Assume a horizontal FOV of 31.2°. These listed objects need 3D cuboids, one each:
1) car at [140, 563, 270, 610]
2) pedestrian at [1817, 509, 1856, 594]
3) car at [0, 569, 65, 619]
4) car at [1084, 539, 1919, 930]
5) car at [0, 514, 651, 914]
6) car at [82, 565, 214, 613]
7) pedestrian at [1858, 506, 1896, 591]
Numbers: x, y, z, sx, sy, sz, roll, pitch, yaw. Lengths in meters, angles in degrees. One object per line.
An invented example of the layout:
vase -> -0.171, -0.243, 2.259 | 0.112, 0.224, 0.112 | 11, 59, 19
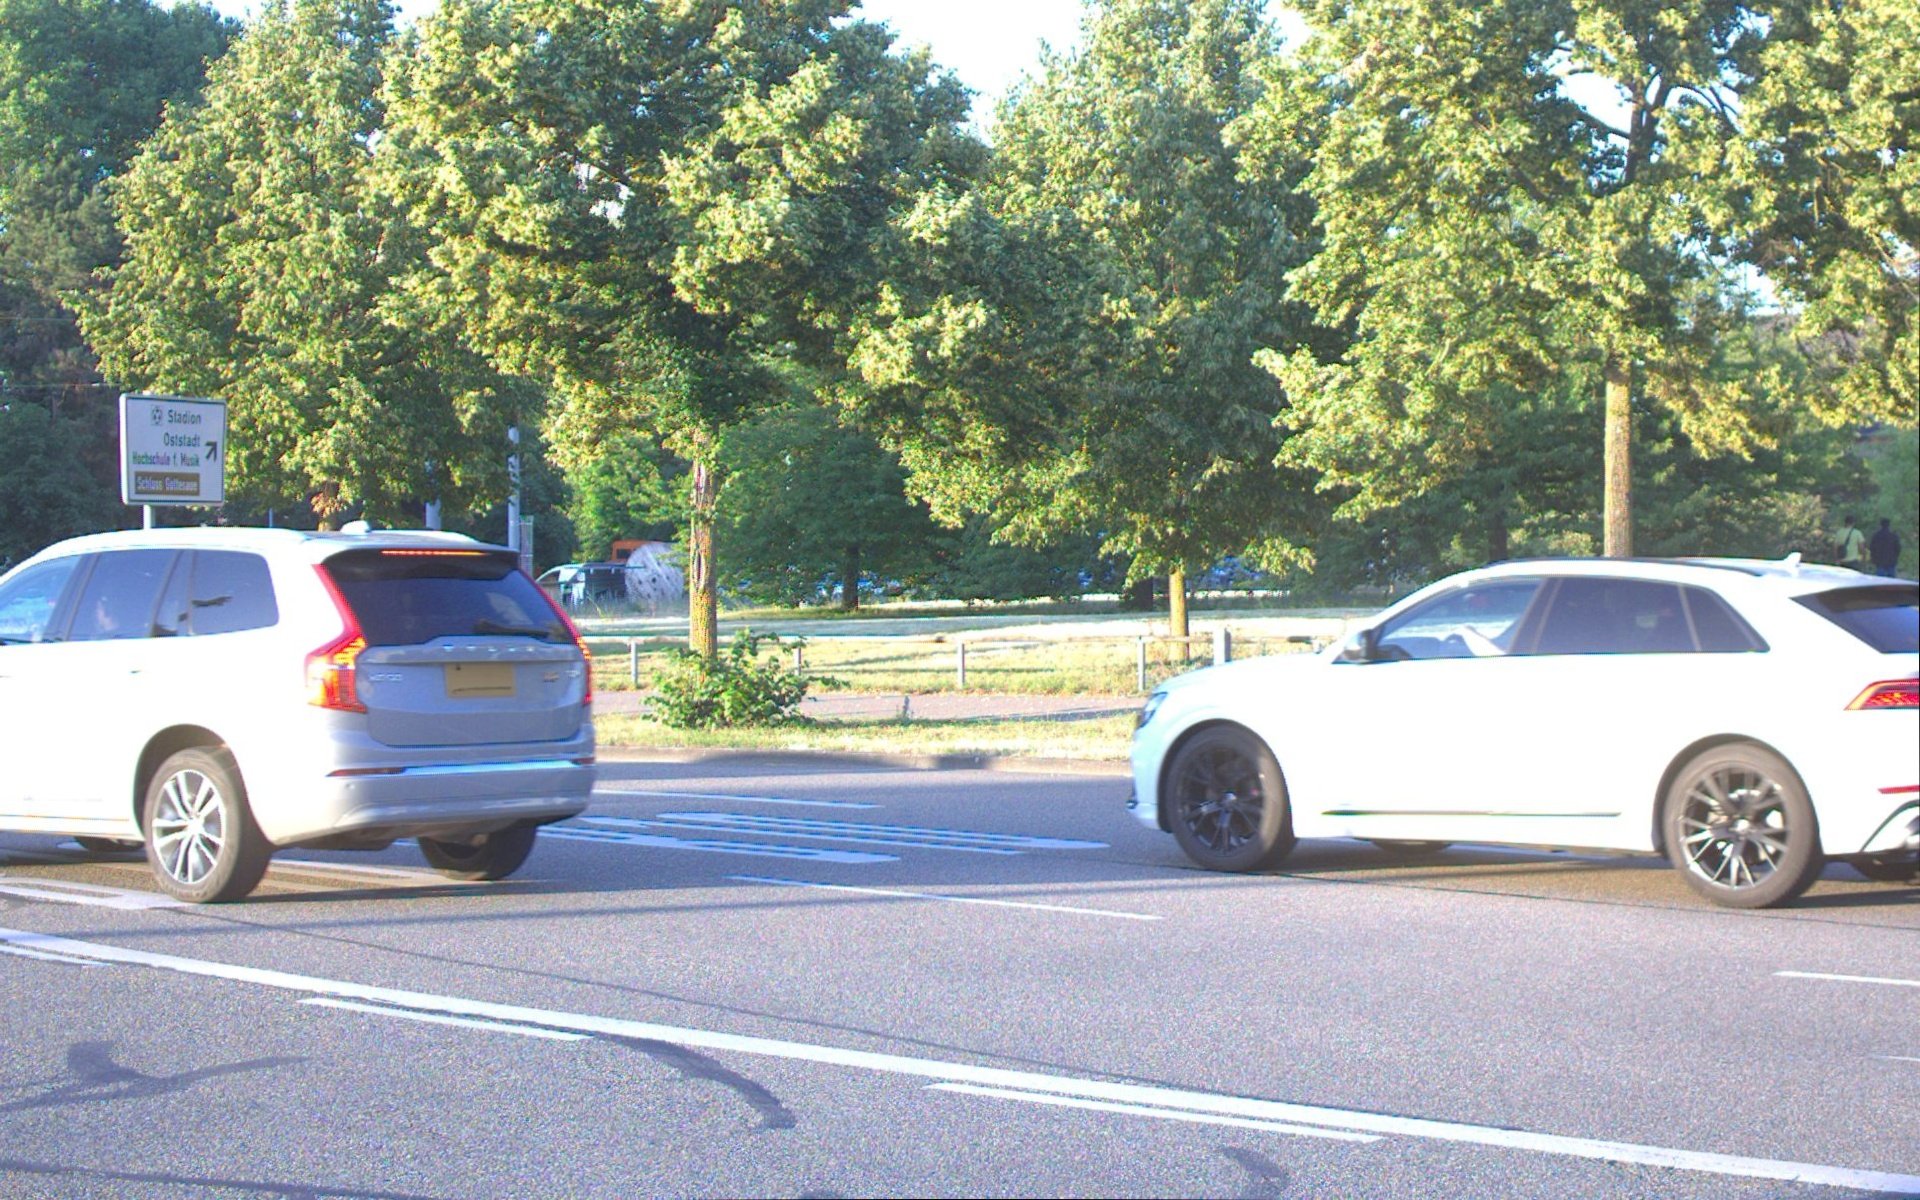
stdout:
car -> -25.449, -0.467, 115.864 | 3.994, 1.545, 1.997 | 0, 1, 31
pedestrian -> 16.839, -0.928, 66.038 | 0.532, 1.621, 0.579 | 0, 1, 38
car -> -30.275, -0.201, 107.941 | 3.994, 1.545, 1.997 | 0, 1, 31
car -> 3.142, 0.559, 17.602 | 4.937, 1.704, 1.909 | 1, 2, 42
car -> -3.971, 0.492, 17.326 | 4.916, 1.748, 1.918 | 0, 0, 41
car -> -26.946, -0.385, 114.134 | 3.994, 1.545, 1.997 | 0, 1, 31
pedestrian -> 17.580, -0.984, 65.902 | 0.530, 1.621, 0.619 | 0, 1, 35
